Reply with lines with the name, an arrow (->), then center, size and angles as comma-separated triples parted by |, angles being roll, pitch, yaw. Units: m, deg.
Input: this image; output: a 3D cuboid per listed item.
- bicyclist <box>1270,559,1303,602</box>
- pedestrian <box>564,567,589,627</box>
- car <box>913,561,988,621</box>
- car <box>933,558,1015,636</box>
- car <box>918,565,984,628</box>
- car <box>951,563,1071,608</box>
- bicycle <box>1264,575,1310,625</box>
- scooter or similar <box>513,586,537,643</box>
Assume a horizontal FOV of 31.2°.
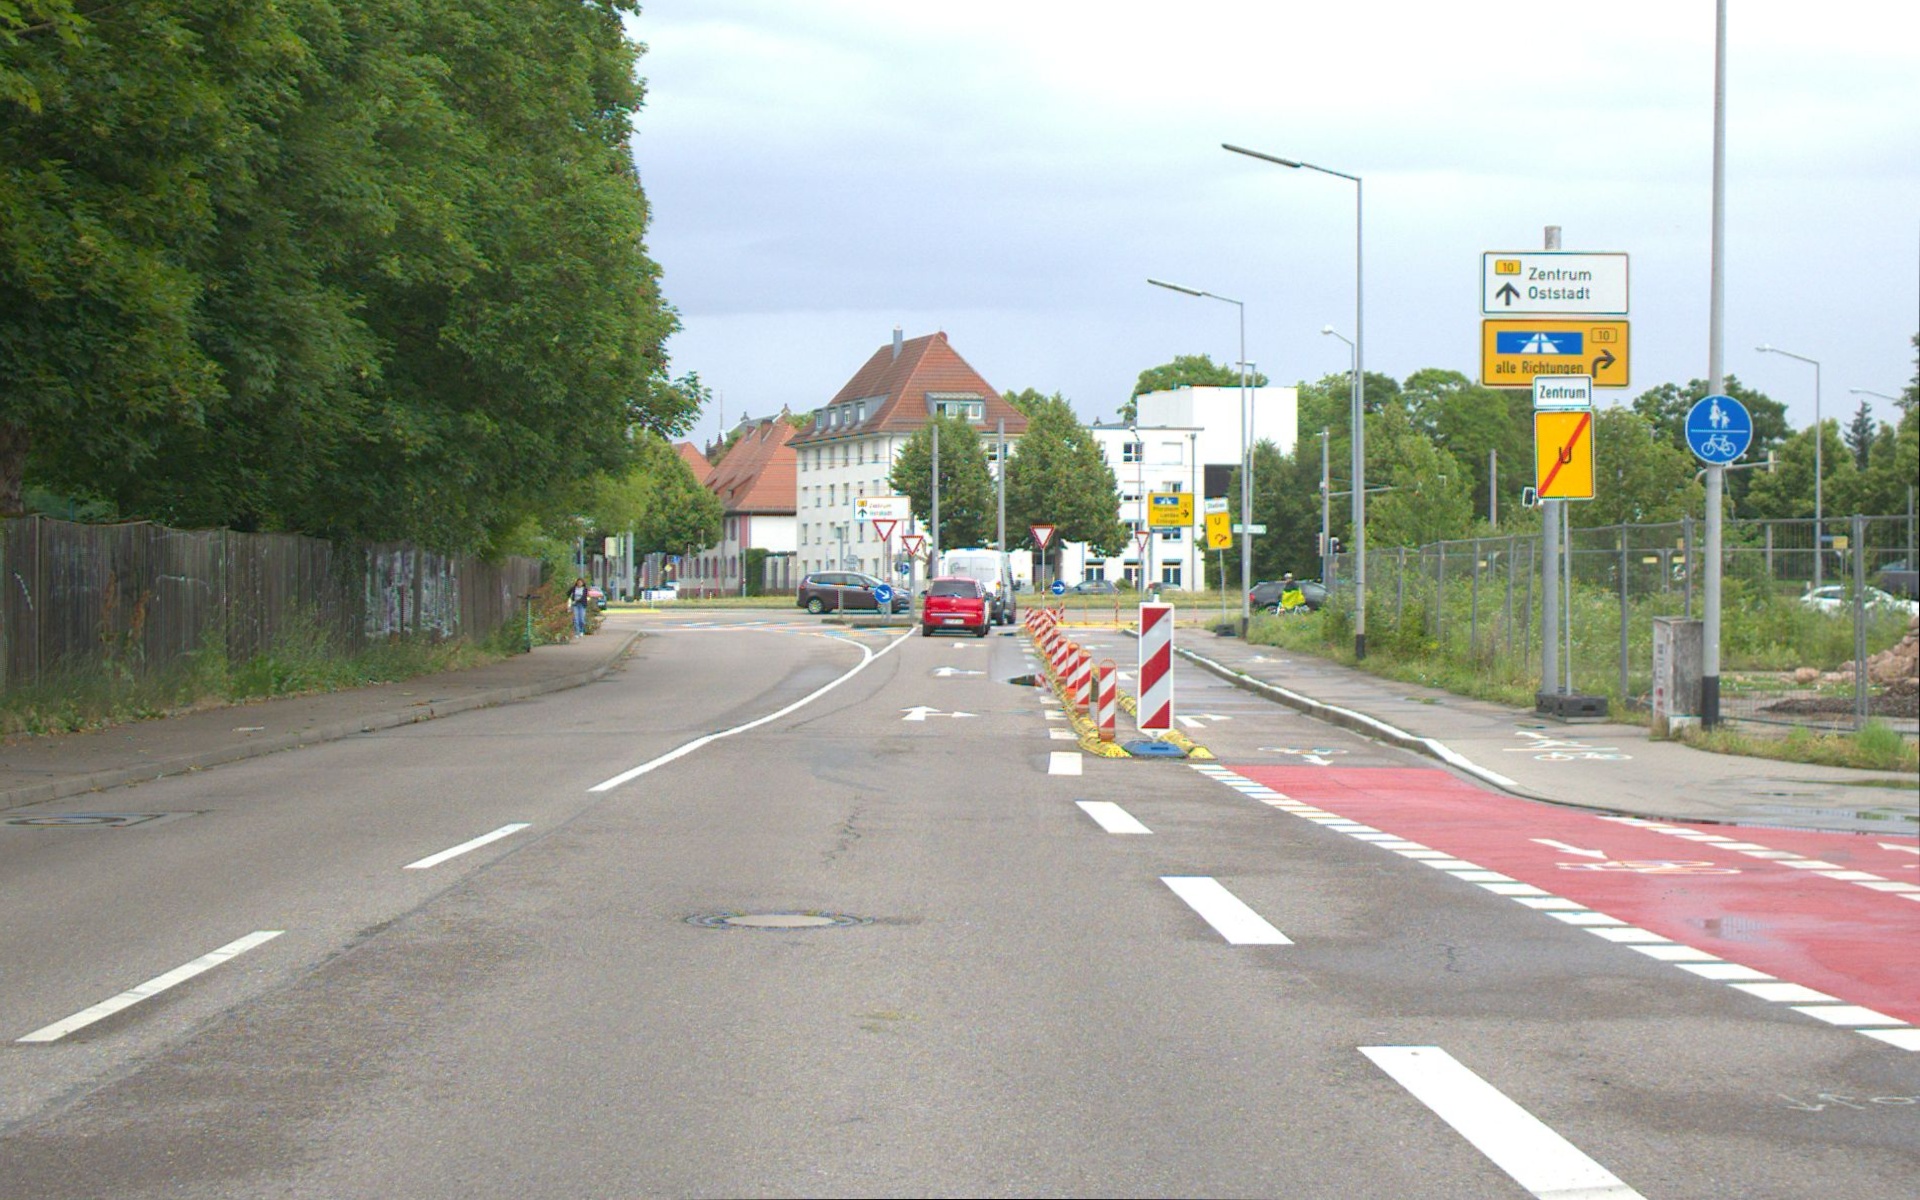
bicyclist -> 10.627, -0.621, 111.917 | 1.062, 1.396, 0.615 | 0, 0, 3
pedestrian -> -9.866, -0.081, 88.396 | 0.612, 1.524, 0.724 | 0, 0, -4
car -> -0.252, -0.266, 99.652 | 2.059, 1.642, 4.607 | 1, 0, 1
car -> 0.494, -0.100, 116.443 | 2.196, 2.531, 4.961 | 1, 0, 7
car -> -0.222, -0.105, 92.916 | 1.673, 1.635, 3.627 | 1, 0, 1
car -> 2.049, -0.577, 138.759 | 4.605, 1.789, 2.110 | 0, 0, 43
bicycle -> 10.643, -0.010, 111.922 | 1.477, 1.606, 0.606 | 1, 0, 3
scooter or similar -> -8.879, 0.290, 70.174 | 0.422, 1.166, 1.304 | 0, 0, -5
